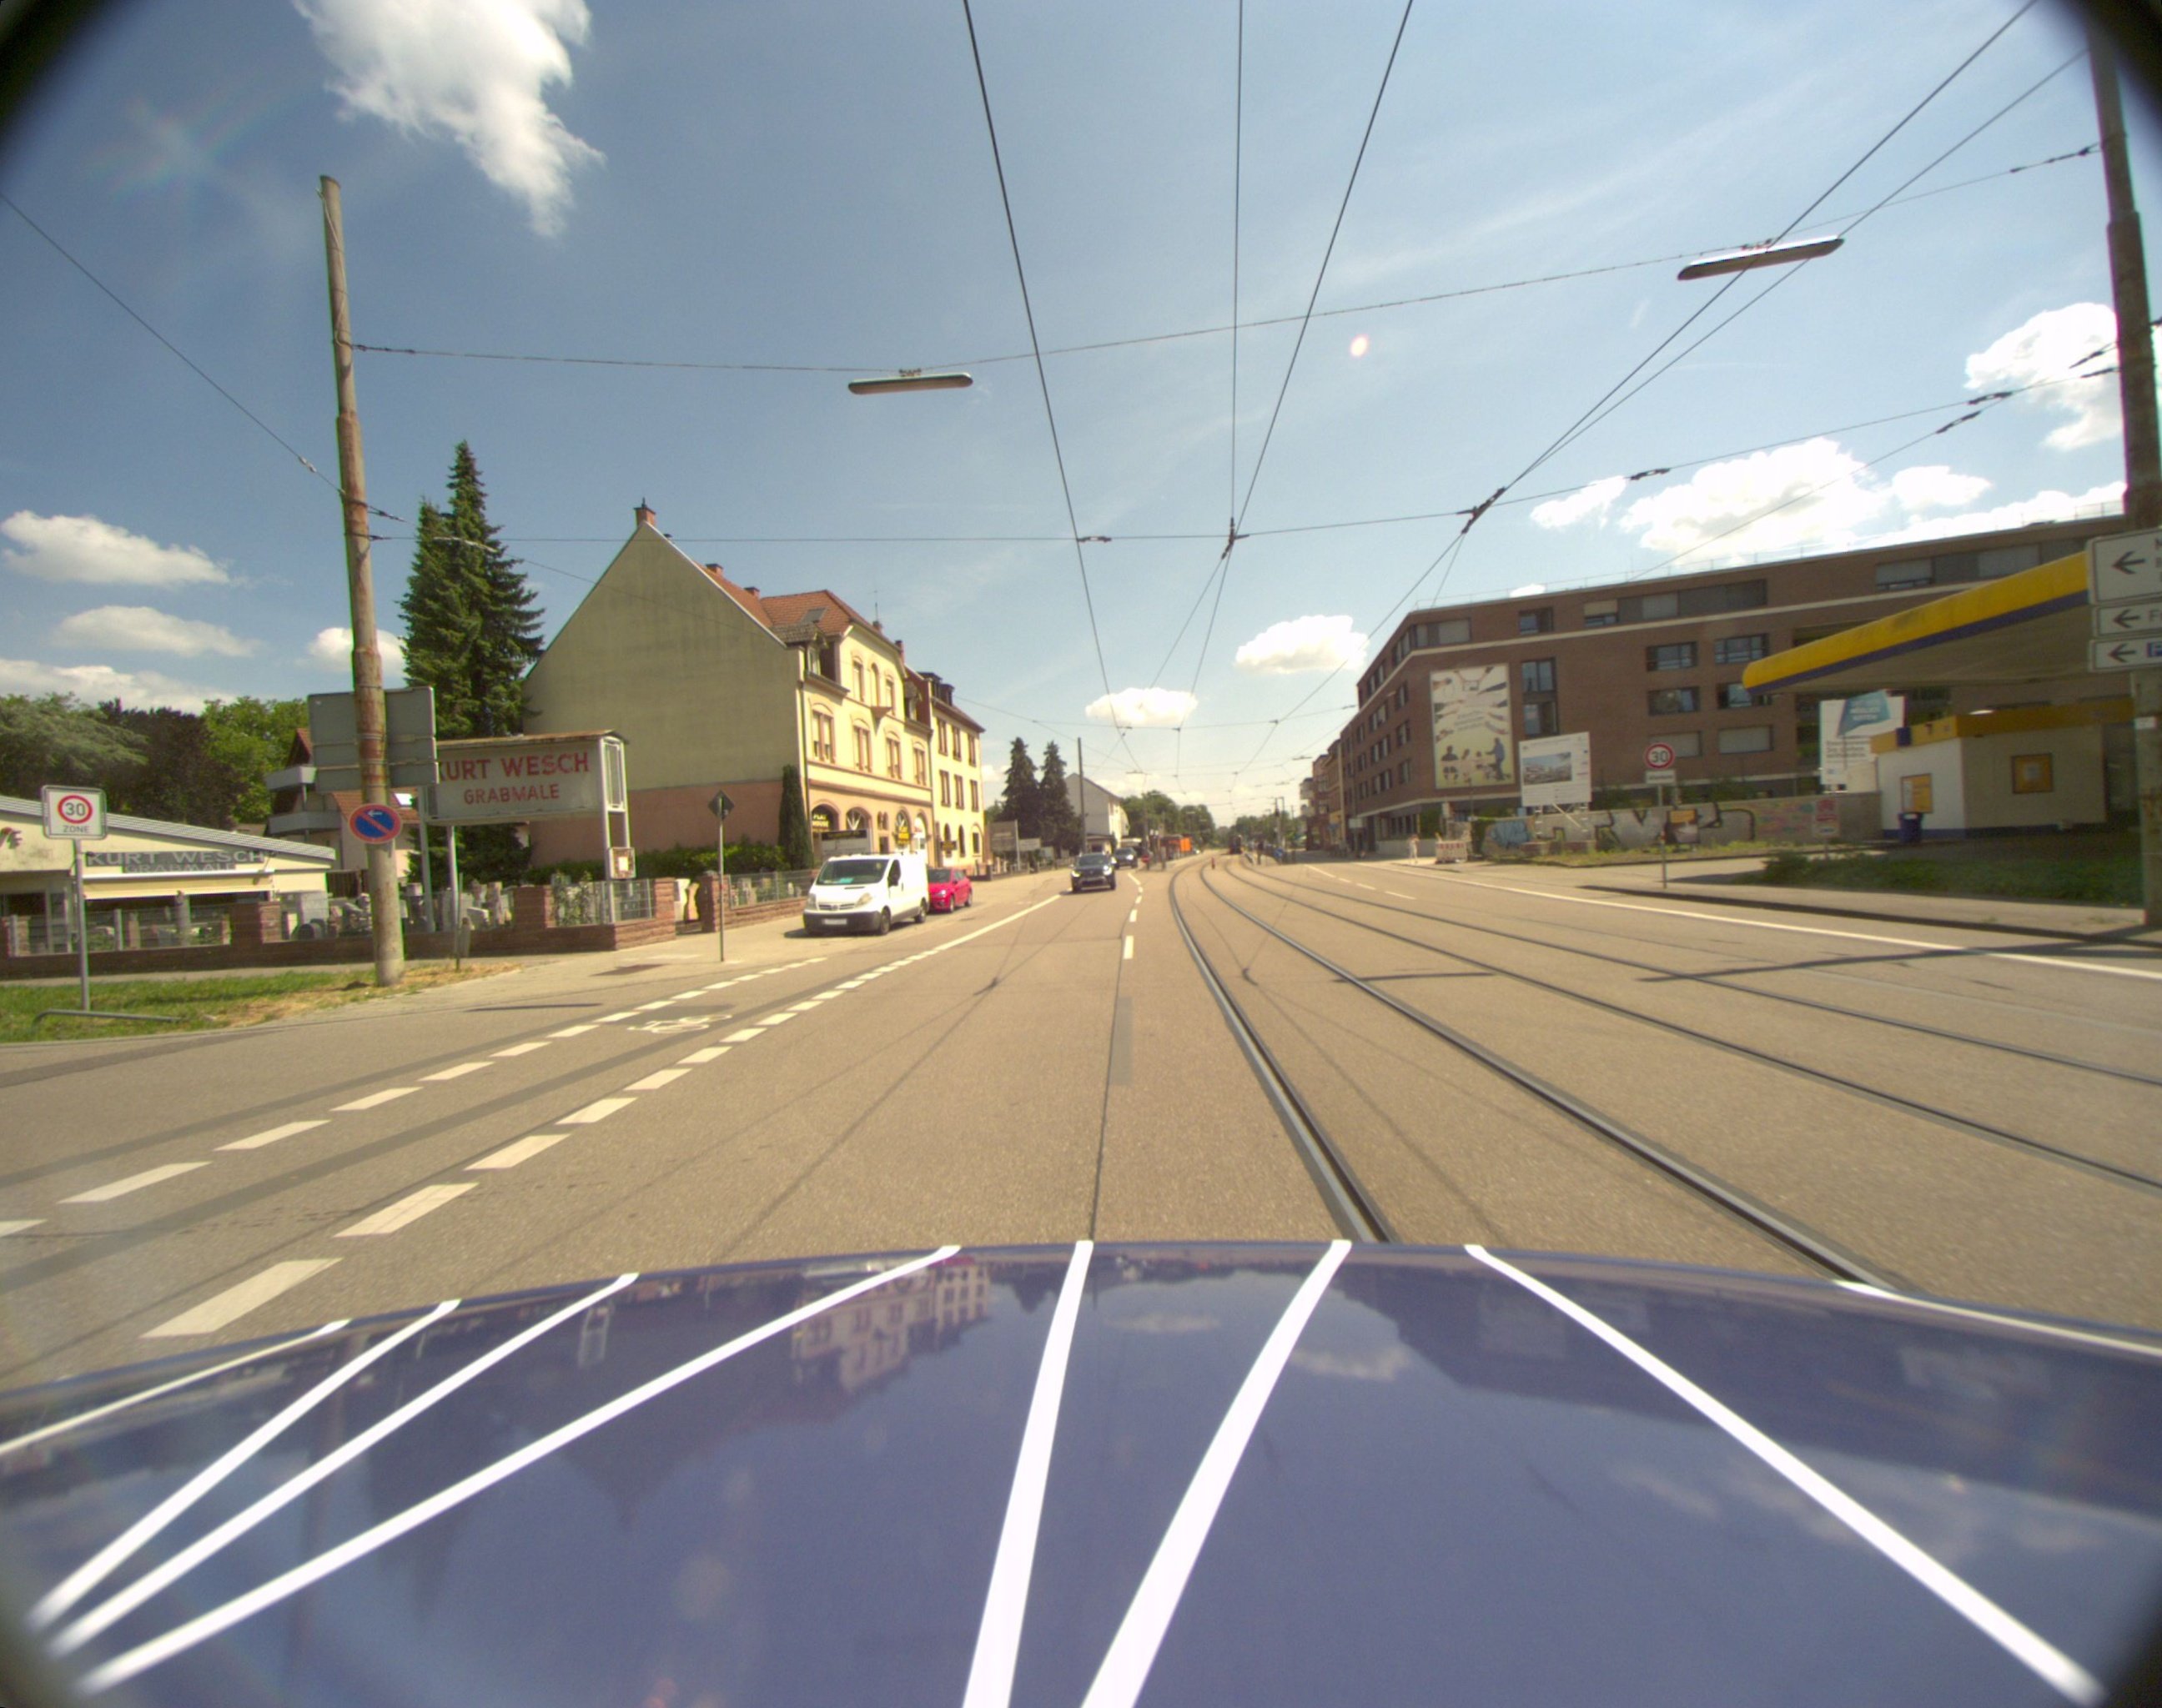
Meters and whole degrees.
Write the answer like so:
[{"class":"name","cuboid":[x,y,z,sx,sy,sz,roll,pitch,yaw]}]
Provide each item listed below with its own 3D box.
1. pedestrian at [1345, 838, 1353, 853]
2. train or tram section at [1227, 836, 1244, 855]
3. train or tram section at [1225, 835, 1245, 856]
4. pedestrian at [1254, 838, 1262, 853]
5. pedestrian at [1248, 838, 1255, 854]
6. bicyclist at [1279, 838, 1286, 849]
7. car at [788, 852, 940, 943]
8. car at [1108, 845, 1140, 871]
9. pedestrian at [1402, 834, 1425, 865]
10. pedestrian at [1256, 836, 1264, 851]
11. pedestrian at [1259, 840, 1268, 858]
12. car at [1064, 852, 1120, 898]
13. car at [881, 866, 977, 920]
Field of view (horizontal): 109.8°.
[{"class":"pedestrian","cuboid":[29.235,-0.898,82.813,0.686,1.587,0.762,-2,1,11]},{"class":"train or tram section","cuboid":[32.531,-1.929,159.778,3.256,3.546,20.515,-3,1,12]},{"class":"train or tram section","cuboid":[28.773,-1.662,141.677,3.240,3.546,16.361,-3,1,12]},{"class":"pedestrian","cuboid":[20.501,-0.942,87.944,0.761,1.685,0.809,-2,1,11]},{"class":"pedestrian","cuboid":[19.867,-0.915,88.549,0.761,1.789,0.952,-2,1,11]},{"class":"bicyclist","cuboid":[29.256,-1.544,110.507,0.760,1.495,1.066,-3,1,6]},{"class":"car","cuboid":[-5.438,0.987,19.958,1.998,1.980,5.516,-2,0,4]},{"class":"car","cuboid":[3.705,0.320,64.416,1.997,2.002,4.003,-3,1,12]},{"class":"pedestrian","cuboid":[18.156,-0.252,41.509,0.761,1.586,1.000,-7,0,7]},{"class":"pedestrian","cuboid":[19.348,-1.117,82.082,0.686,1.587,0.762,-2,1,11]},{"class":"pedestrian","cuboid":[17.359,-0.474,72.391,0.686,1.750,1.034,-2,1,11]},{"class":"car","cuboid":[0.542,0.790,31.317,1.845,1.565,4.488,-3,1,6]},{"class":"car","cuboid":[-5.002,1.254,25.573,1.998,1.433,4.018,-4,0,5]}]
